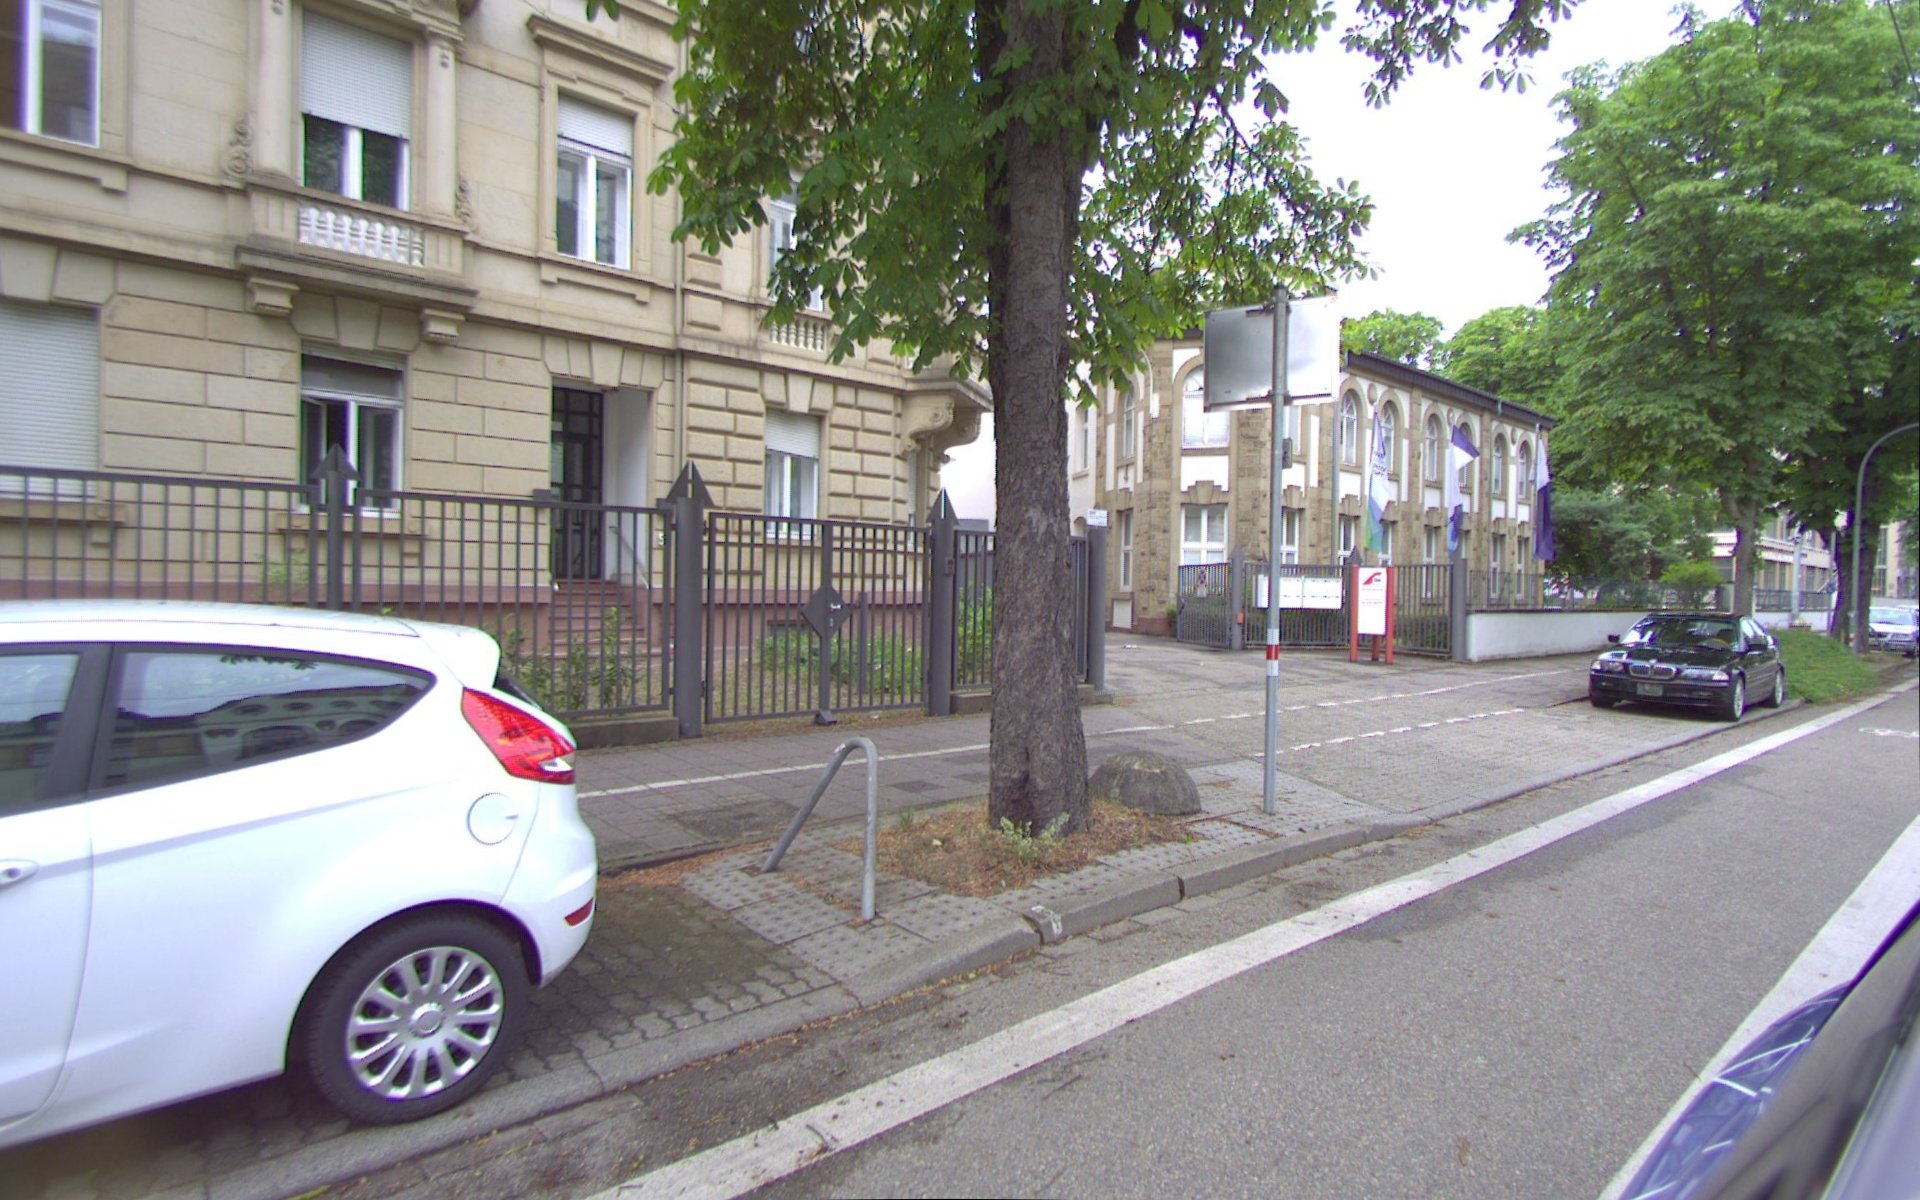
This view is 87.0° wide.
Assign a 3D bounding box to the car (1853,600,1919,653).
[{"bbox_3d":[27.250,0.732,29.252,3.769,1.387,1.606,0,3,-41],"label":"car"}]

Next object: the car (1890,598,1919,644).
[{"bbox_3d":[32.532,0.707,33.870,3.769,1.442,1.606,0,3,-41],"label":"car"}]

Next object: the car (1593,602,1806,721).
[{"bbox_3d":[10.671,0.774,14.513,3.769,1.387,1.606,0,3,-41],"label":"car"}]

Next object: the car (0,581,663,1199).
[{"bbox_3d":[-2.899,0.708,2.682,3.698,1.453,1.631,0,3,-41],"label":"car"}]
